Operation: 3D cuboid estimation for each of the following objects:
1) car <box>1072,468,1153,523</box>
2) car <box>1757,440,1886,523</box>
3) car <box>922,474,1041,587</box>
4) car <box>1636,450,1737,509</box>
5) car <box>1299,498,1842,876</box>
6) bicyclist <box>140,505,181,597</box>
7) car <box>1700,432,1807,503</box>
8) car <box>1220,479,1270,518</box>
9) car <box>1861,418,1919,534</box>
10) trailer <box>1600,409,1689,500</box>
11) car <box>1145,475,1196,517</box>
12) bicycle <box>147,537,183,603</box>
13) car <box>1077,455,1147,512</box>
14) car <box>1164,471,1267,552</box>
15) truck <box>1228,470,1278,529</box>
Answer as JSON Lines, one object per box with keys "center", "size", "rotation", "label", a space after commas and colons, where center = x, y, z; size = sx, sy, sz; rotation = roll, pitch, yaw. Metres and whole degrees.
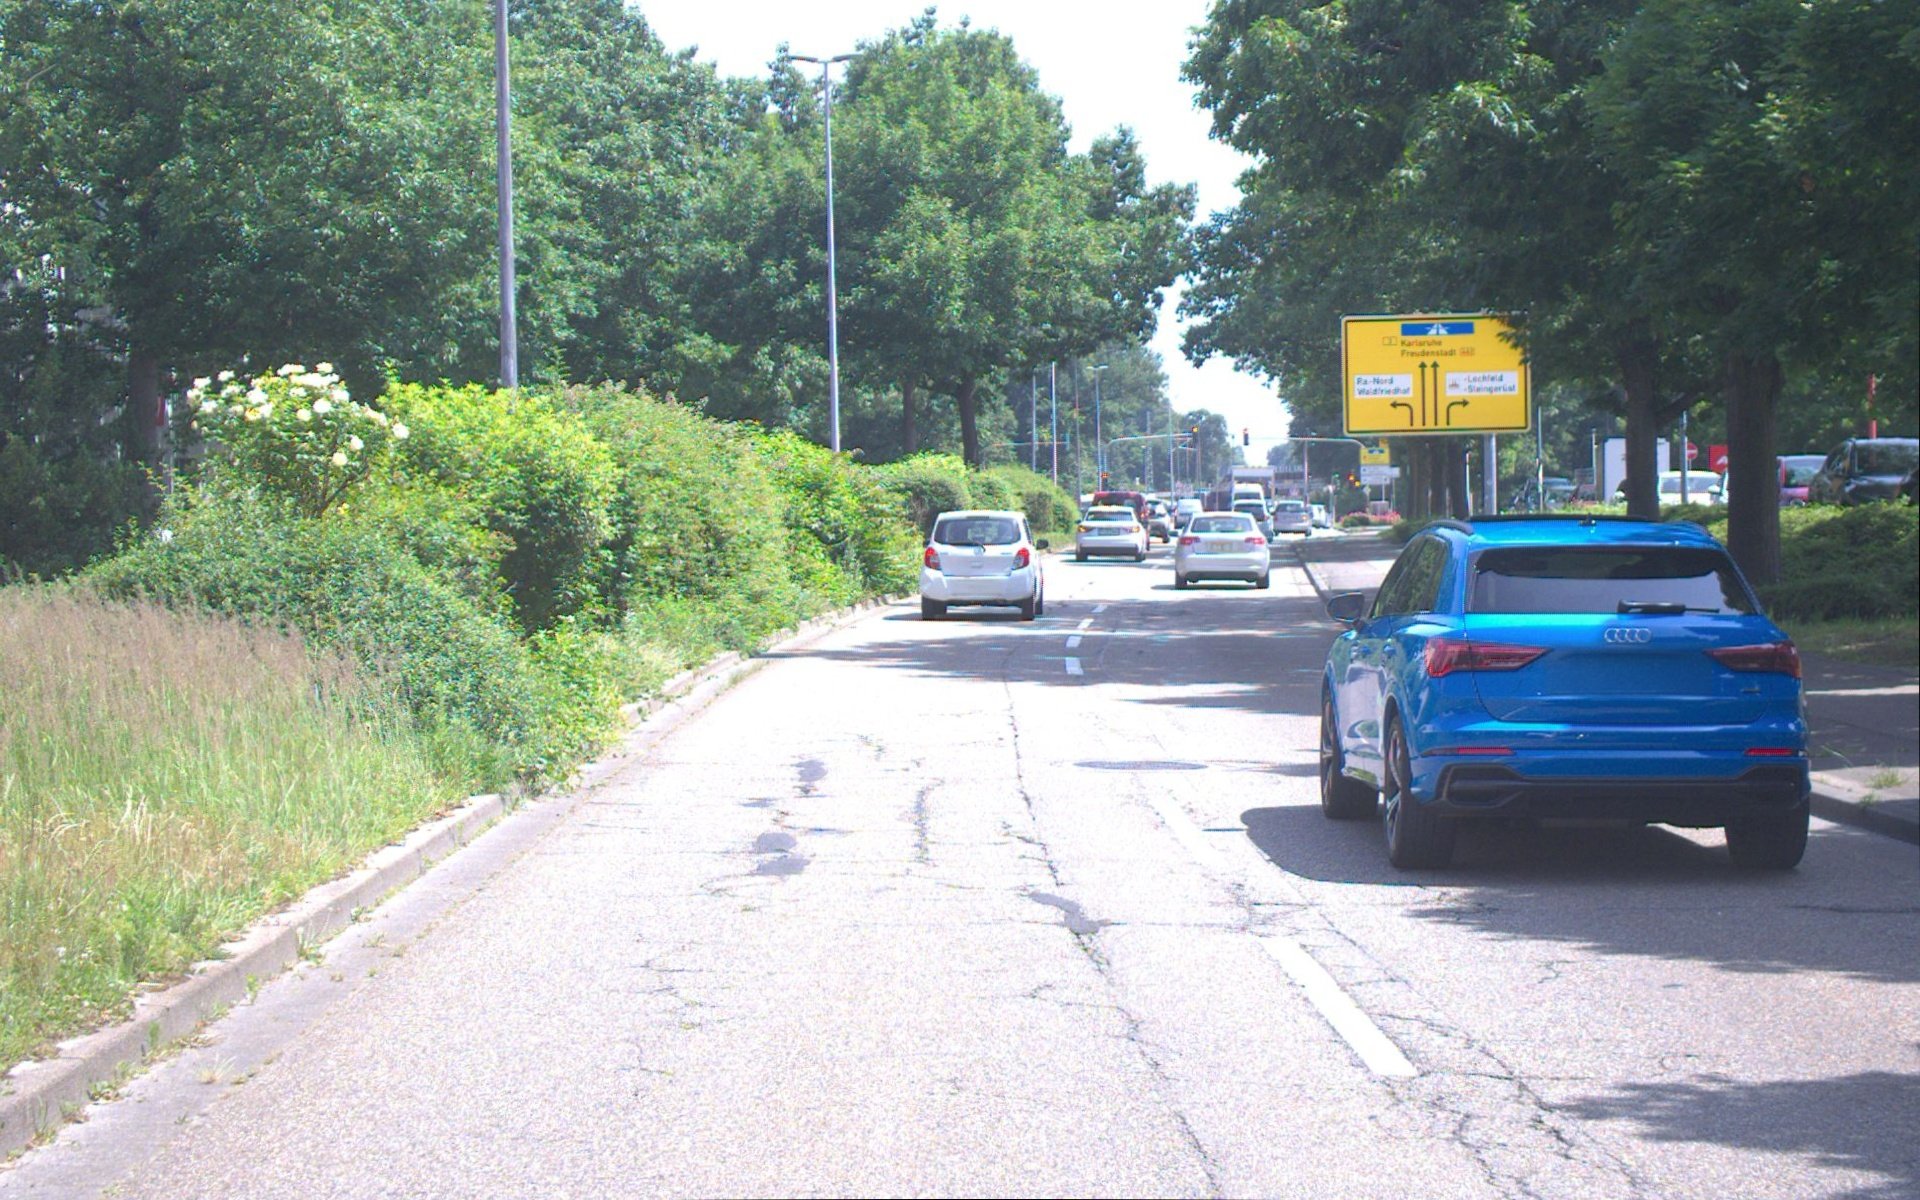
{"center": [3.936, -2.676, 88.468], "size": [1.885, 1.349, 3.999], "rotation": [0, 1, 5], "label": "car"}
{"center": [13.675, -1.866, 54.717], "size": [1.619, 1.248, 3.762], "rotation": [0, 1, 8], "label": "car"}
{"center": [0.330, -0.993, 49.115], "size": [1.638, 1.546, 3.325], "rotation": [0, 1, 1], "label": "car"}
{"center": [15.113, -2.493, 71.630], "size": [1.593, 1.154, 3.737], "rotation": [0, 1, 5], "label": "car"}
{"center": [2.789, 0.323, 16.674], "size": [1.808, 1.587, 4.350], "rotation": [0, 1, -1], "label": "car"}
{"center": [-13.304, -0.818, 57.229], "size": [0.545, 1.504, 0.343], "rotation": [-2, 2, 0], "label": "bicyclist"}
{"center": [14.798, -2.454, 64.241], "size": [1.619, 1.248, 3.865], "rotation": [0, 1, 8], "label": "car"}
{"center": [10.246, -3.643, 123.758], "size": [1.441, 1.343, 3.460], "rotation": [-2, 1, 0], "label": "car"}
{"center": [13.058, -1.536, 42.323], "size": [1.905, 1.446, 5.603], "rotation": [0, 1, -6], "label": "car"}
{"center": [16.038, -3.390, 80.736], "size": [1.701, 2.048, 5.482], "rotation": [0, 2, 7], "label": "trailer"}
{"center": [7.077, -3.492, 115.728], "size": [1.487, 1.387, 3.308], "rotation": [0, 1, 0], "label": "car"}
{"center": [-13.232, -0.506, 57.207], "size": [0.346, 1.064, 0.923], "rotation": [-2, 2, 0], "label": "bicycle"}
{"center": [4.522, -3.454, 101.751], "size": [1.885, 1.602, 4.000], "rotation": [-2, 2, 5], "label": "car"}
{"center": [4.796, -1.649, 64.336], "size": [1.866, 1.468, 4.000], "rotation": [0, 1, 5], "label": "car"}
{"center": [18.017, -6.184, 211.356], "size": [2.932, 3.490, 9.157], "rotation": [-1, 2, 5], "label": "truck"}
